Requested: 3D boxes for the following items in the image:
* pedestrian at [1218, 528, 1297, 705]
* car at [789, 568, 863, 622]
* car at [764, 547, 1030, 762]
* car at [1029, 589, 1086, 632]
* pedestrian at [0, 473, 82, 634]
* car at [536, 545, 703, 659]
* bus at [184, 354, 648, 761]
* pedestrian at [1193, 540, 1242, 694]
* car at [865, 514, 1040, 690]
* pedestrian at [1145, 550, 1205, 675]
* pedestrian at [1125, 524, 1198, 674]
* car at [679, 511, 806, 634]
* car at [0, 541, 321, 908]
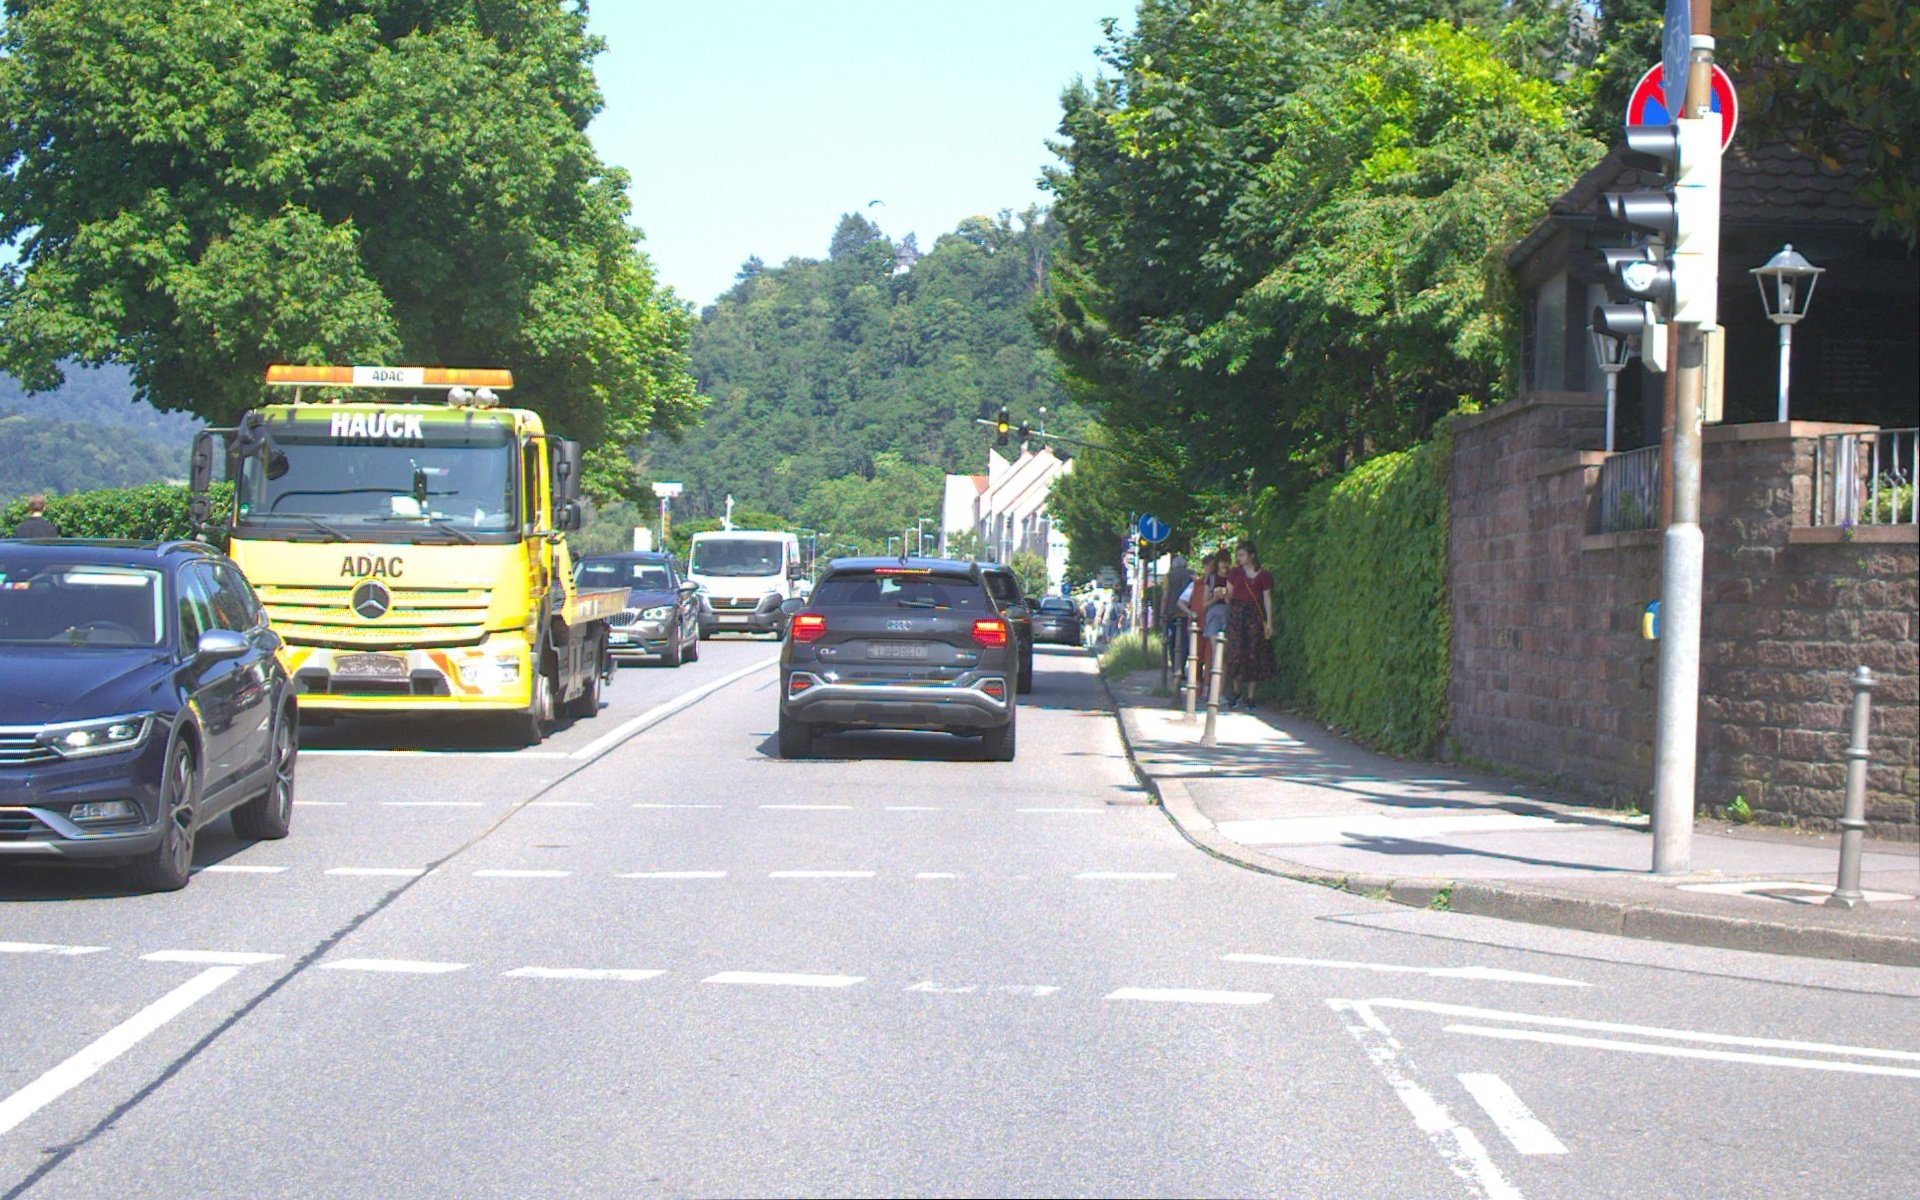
[{"bbox_3d":[3.011,0.152,34.857,0.681,1.736,0.913,2,2,1],"label":"pedestrian"},{"bbox_3d":[-3.827,-0.137,98.683,1.899,1.484,3.795,1,0,1],"label":"car"},{"bbox_3d":[-0.414,0.389,26.847,1.857,1.518,4.000,1,0,2],"label":"car"},{"bbox_3d":[3.486,0.386,123.545,1.993,1.448,4.008,1,-1,1],"label":"car"},{"bbox_3d":[-11.146,-0.552,41.547,0.753,1.911,1.009,1,-1,1],"label":"pedestrian"},{"bbox_3d":[-4.547,-0.009,46.469,1.815,1.393,4.347,1,2,0],"label":"car"},{"bbox_3d":[-4.278,-0.375,28.850,2.597,2.886,8.447,1,1,0],"label":"bus"},{"bbox_3d":[2.710,0.174,36.198,0.455,1.600,0.579,1,1,1],"label":"pedestrian"},{"bbox_3d":[-0.103,-0.001,41.912,1.993,2.007,4.000,1,1,0],"label":"car"},{"bbox_3d":[2.873,0.161,45.977,0.728,1.644,0.882,-1,1,1],"label":"pedestrian"},{"bbox_3d":[2.234,-0.017,38.164,0.735,1.628,0.920,1,1,1],"label":"pedestrian"},{"bbox_3d":[-4.288,-0.606,68.556,2.096,2.294,5.869,1,2,0],"label":"car"},{"bbox_3d":[-4.197,0.458,15.856,1.808,1.401,4.357,1,1,-2],"label":"car"}]
